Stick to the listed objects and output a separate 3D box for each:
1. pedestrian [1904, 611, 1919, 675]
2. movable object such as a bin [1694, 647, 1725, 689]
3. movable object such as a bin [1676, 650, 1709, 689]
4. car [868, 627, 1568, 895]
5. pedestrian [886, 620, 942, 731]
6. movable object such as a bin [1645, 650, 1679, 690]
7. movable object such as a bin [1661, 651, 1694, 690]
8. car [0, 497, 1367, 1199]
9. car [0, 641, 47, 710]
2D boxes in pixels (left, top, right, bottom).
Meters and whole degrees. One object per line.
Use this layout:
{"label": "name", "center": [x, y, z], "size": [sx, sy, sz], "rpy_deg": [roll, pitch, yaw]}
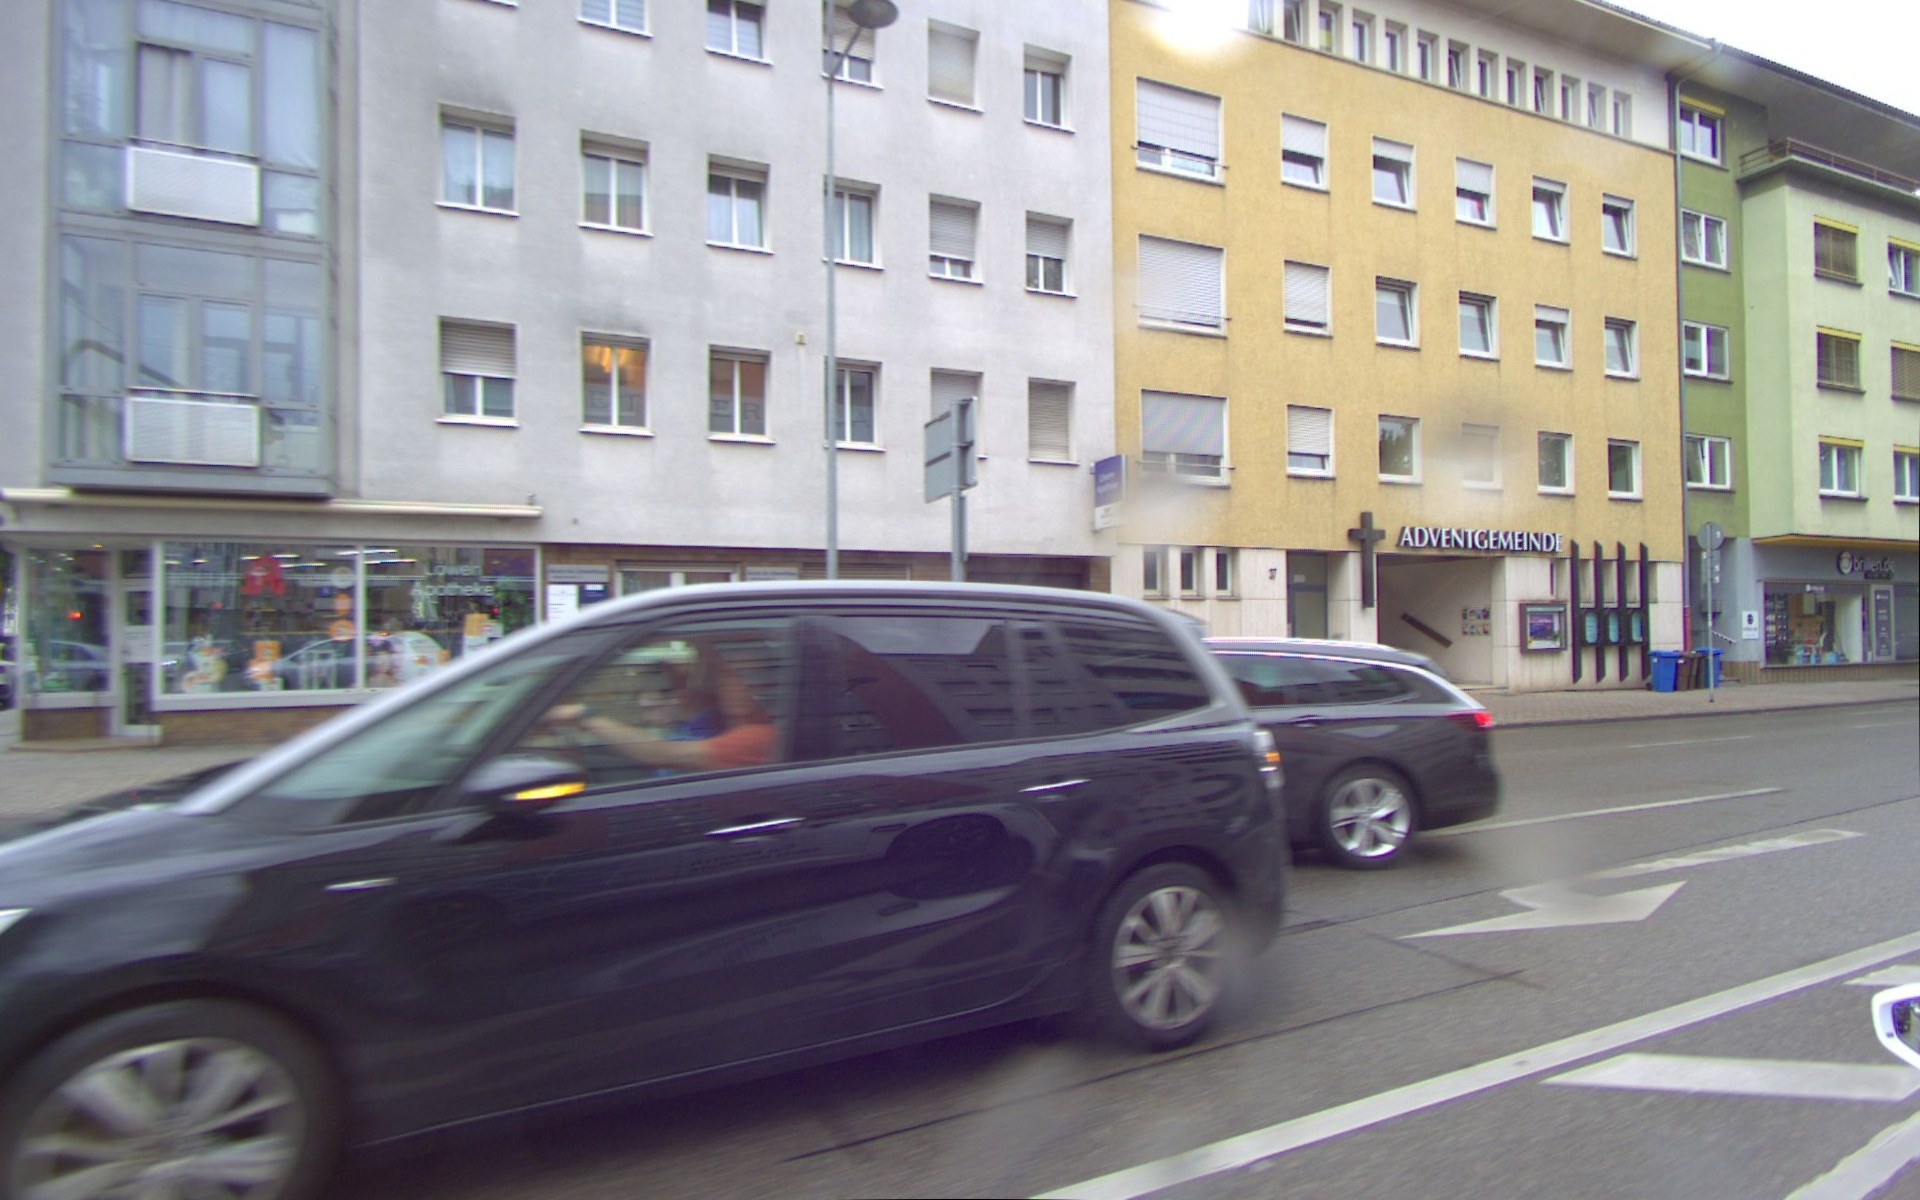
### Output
{"label": "pedestrian", "center": [27.734, 1.242, 28.665], "size": [0.863, 1.812, 0.863], "rpy_deg": [1, 0, -24]}
{"label": "movable object such as a bin", "center": [18.688, 1.690, 25.047], "size": [0.537, 1.019, 0.398], "rpy_deg": [0, -2, -24]}
{"label": "movable object such as a bin", "center": [17.822, 1.688, 24.445], "size": [0.495, 0.912, 0.453], "rpy_deg": [0, -2, -23]}
{"label": "car", "center": [1.550, 0.992, 6.997], "size": [4.315, 1.452, 1.826], "rpy_deg": [-1, -3, -5]}
{"label": "pedestrian", "center": [-0.702, 1.115, 15.142], "size": [0.642, 1.602, 0.685], "rpy_deg": [0, 0, -23]}
{"label": "movable object such as a bin", "center": [16.761, 1.670, 23.989], "size": [0.495, 0.942, 0.453], "rpy_deg": [0, -2, -23]}
{"label": "movable object such as a bin", "center": [17.308, 1.687, 24.236], "size": [0.495, 0.912, 0.453], "rpy_deg": [0, -2, -23]}
{"label": "car", "center": [-0.814, 0.697, 3.631], "size": [4.373, 1.629, 1.815], "rpy_deg": [2, -3, -27]}
{"label": "car", "center": [-24.620, 1.864, 25.193], "size": [2.027, 1.652, 4.297], "rpy_deg": [2, -3, -36]}
